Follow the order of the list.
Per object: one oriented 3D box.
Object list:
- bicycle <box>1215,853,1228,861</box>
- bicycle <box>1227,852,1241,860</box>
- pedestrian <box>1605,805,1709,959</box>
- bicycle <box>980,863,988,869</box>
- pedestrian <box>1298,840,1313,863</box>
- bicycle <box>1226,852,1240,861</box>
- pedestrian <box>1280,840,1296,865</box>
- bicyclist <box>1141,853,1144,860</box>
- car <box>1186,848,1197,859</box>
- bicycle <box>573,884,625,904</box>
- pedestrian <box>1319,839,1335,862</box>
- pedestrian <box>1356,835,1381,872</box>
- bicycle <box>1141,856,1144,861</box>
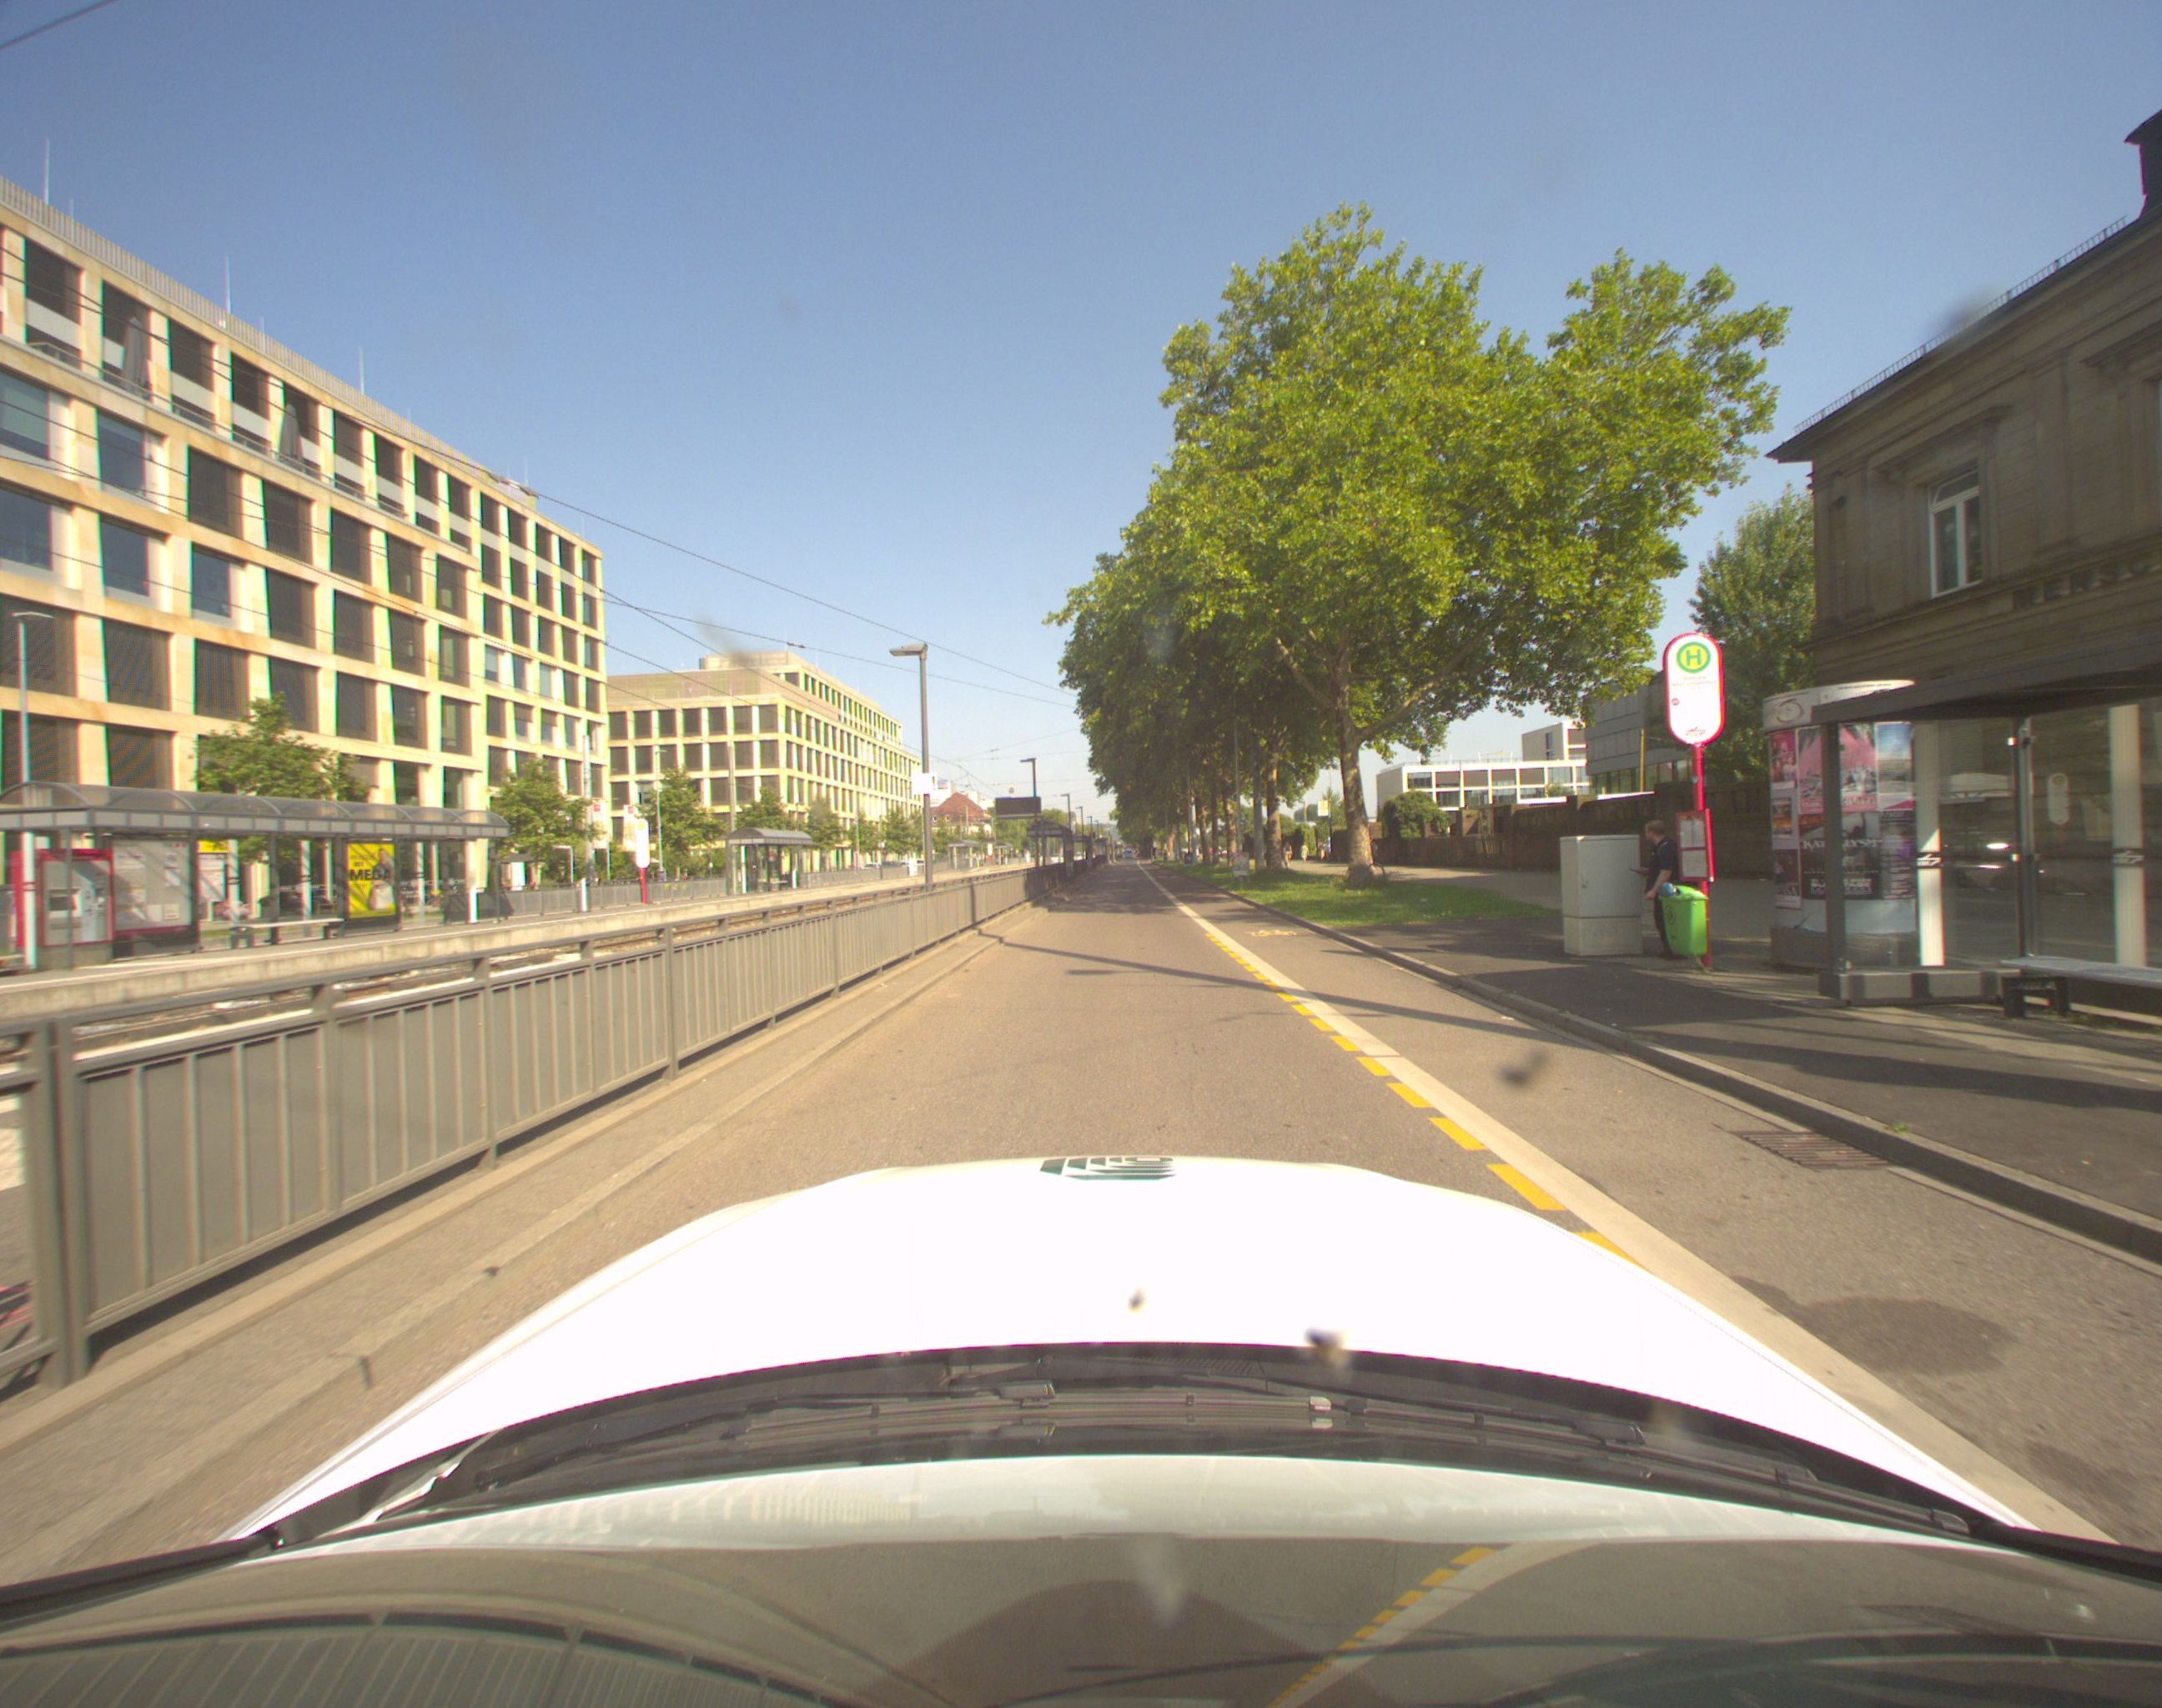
[{"bbox_3d":[18.290,0.385,106.210,0.509,0.969,1.642,-4,-1,-38],"label":"bicycle"},{"bbox_3d":[20.055,0.259,106.637,1.648,0.969,0.507,-4,-1,5],"label":"bicycle"},{"bbox_3d":[6.697,0.311,9.486,0.689,1.697,0.645,-3,0,-18],"label":"pedestrian"},{"bbox_3d":[-11.765,1.457,98.988,0.474,0.662,1.617,-3,0,8],"label":"bicycle"},{"bbox_3d":[16.523,-0.196,60.053,0.803,1.604,0.948,-4,-1,3],"label":"pedestrian"},{"bbox_3d":[19.054,0.341,102.291,1.647,0.969,0.507,-4,-1,8],"label":"bicycle"},{"bbox_3d":[14.205,-0.078,55.962,0.803,1.636,0.948,-4,-1,3],"label":"pedestrian"},{"bbox_3d":[12.903,0.495,171.257,0.702,1.461,1.010,-1,-1,3],"label":"bicyclist"},{"bbox_3d":[21.417,-0.163,157.259,1.714,2.048,4.466,-2,0,4],"label":"car"},{"bbox_3d":[-27.635,2.287,46.723,2.424,0.986,0.822,-3,0,1],"label":"bicycle"},{"bbox_3d":[18.016,-0.228,59.668,0.803,1.604,0.948,-4,-1,3],"label":"pedestrian"},{"bbox_3d":[13.738,-0.023,38.965,0.815,1.686,1.013,-3,0,3],"label":"pedestrian"},{"bbox_3d":[12.911,0.949,171.214,0.712,1.107,2.511,-1,-1,4],"label":"bicycle"}]
